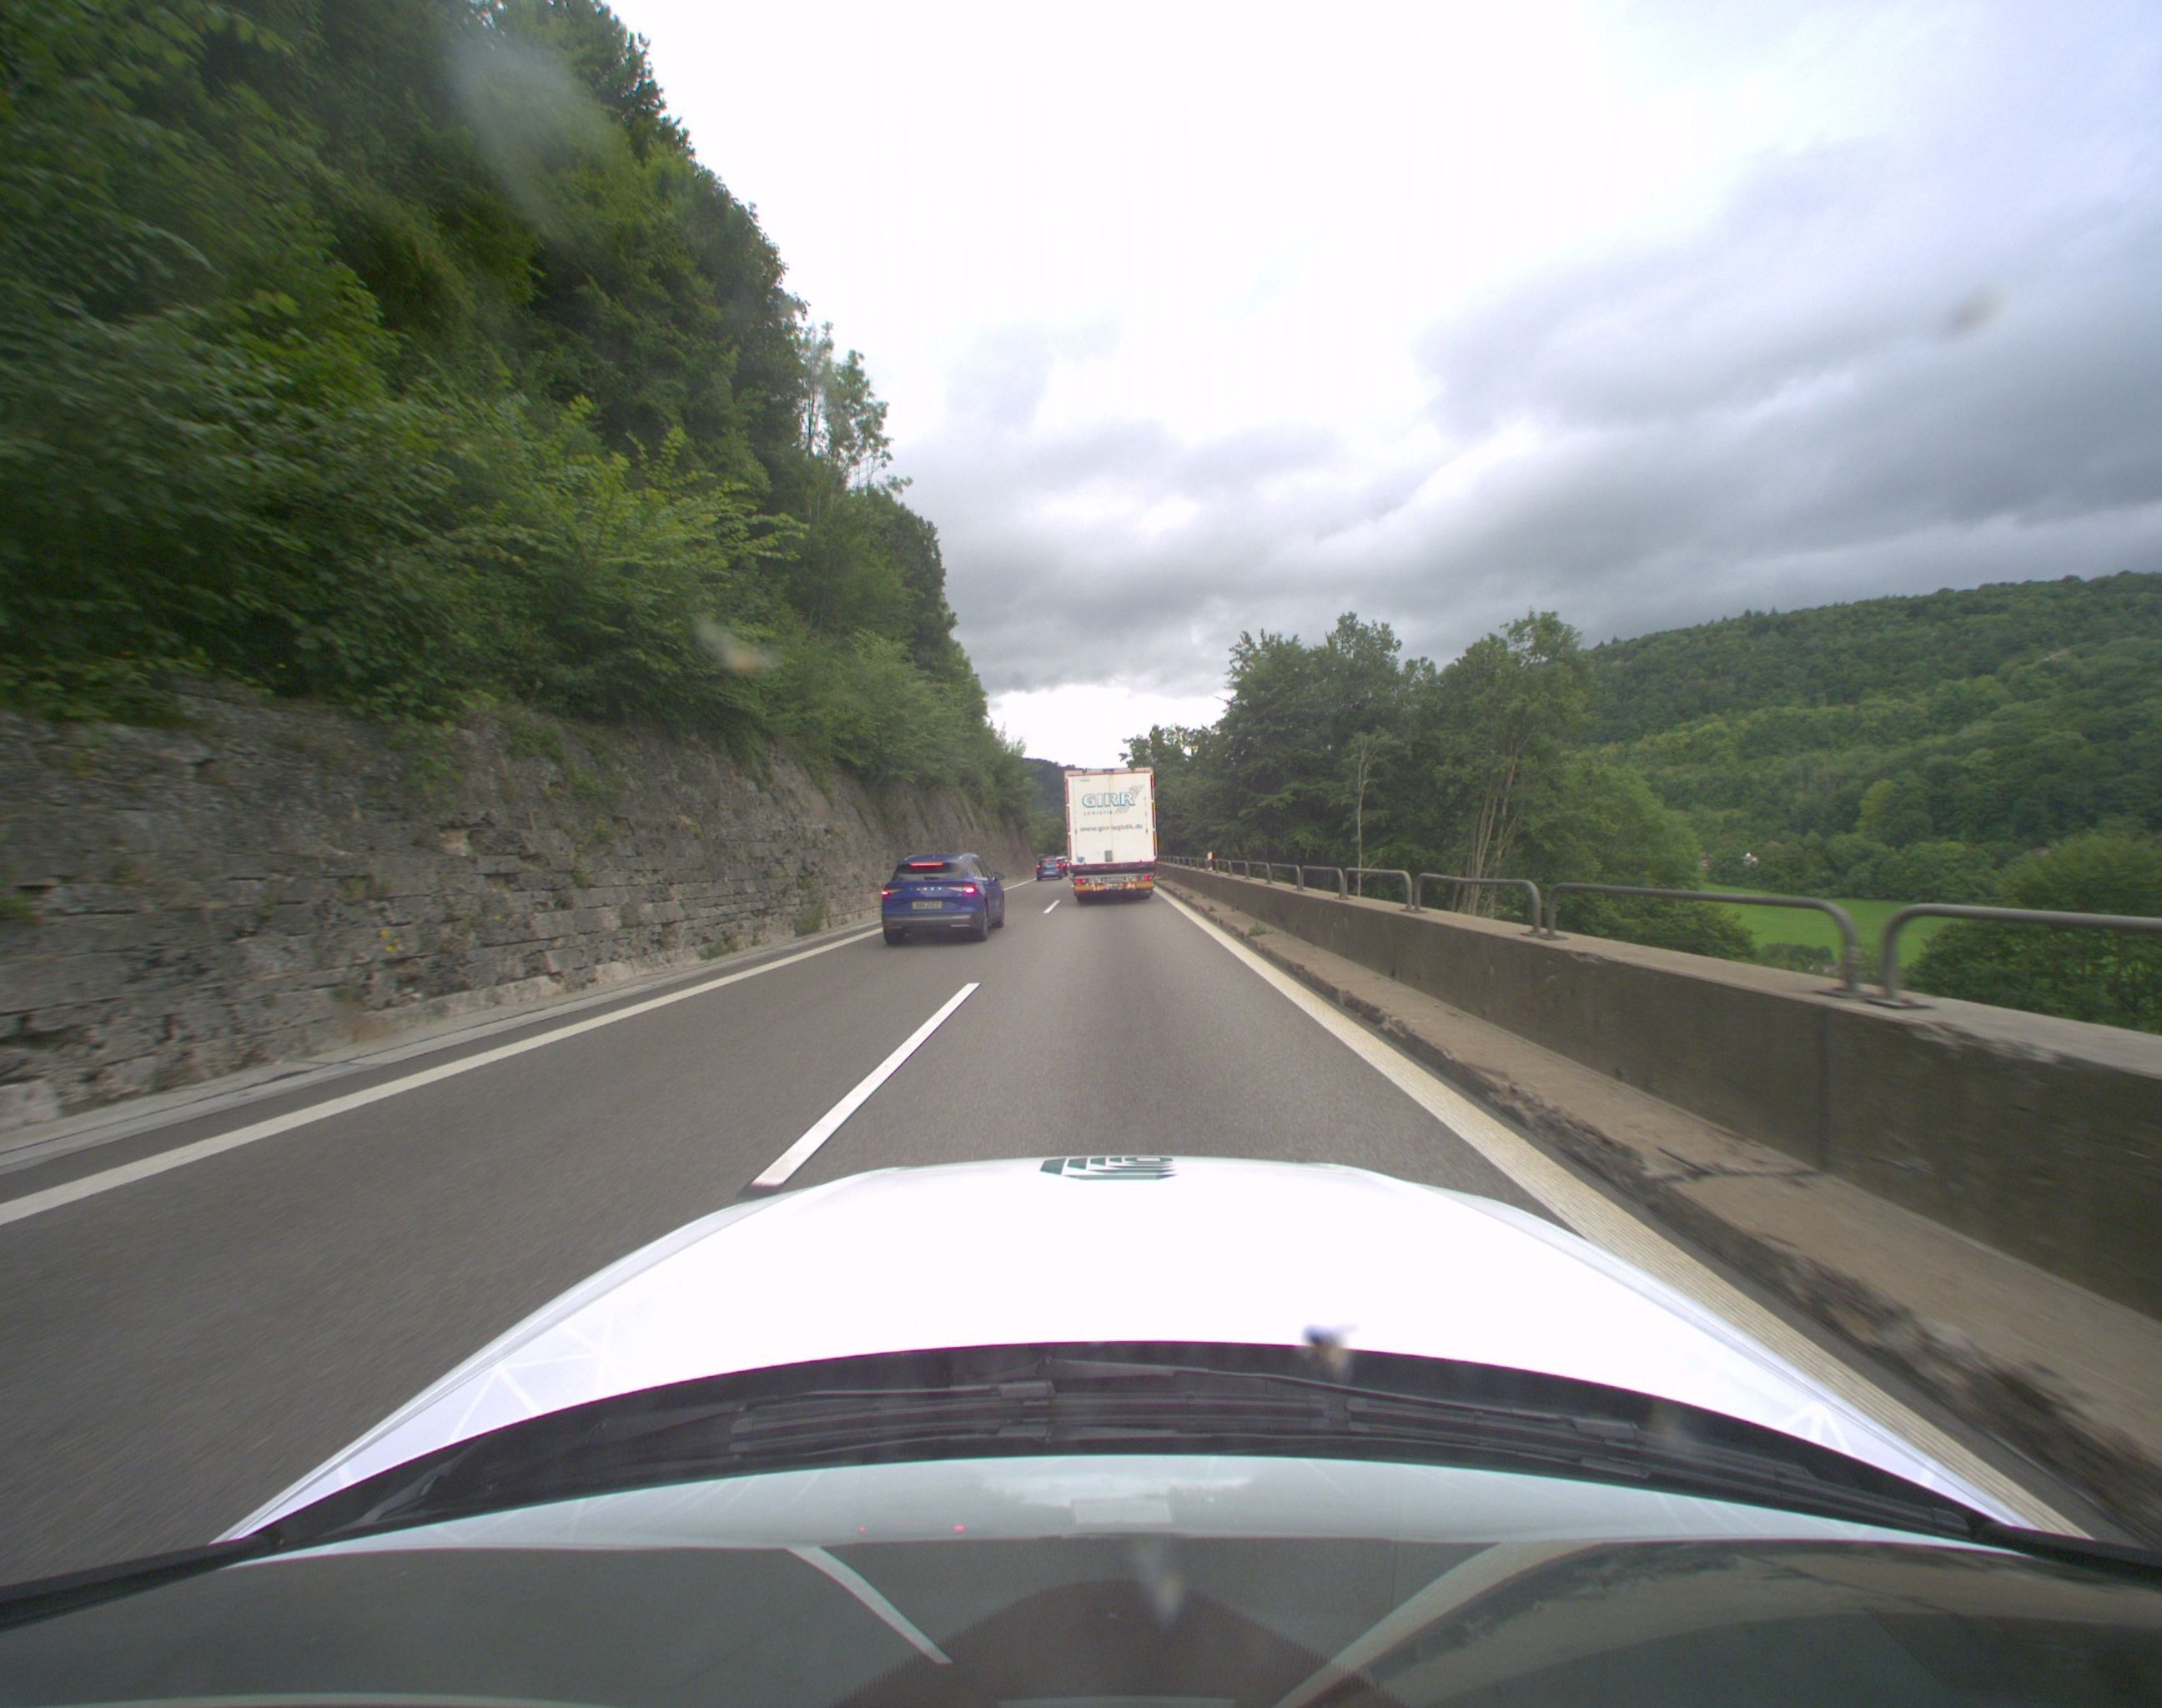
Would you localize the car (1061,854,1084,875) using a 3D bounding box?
[{"bbox_3d":[-0.629,0.800,65.109,1.739,1.587,4.000,1,0,1],"label":"car"}]

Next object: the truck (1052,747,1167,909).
[{"bbox_3d":[0.992,-0.788,30.849,3.073,4.463,15.159,-3,0,1],"label":"truck"}]

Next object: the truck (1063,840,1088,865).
[{"bbox_3d":[-0.996,-0.249,130.731,2.631,3.857,12.329,1,0,-7],"label":"truck"}]

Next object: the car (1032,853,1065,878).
[{"bbox_3d":[-2.192,0.760,55.488,1.987,1.596,4.354,1,0,0],"label":"car"}]

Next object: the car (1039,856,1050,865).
[{"bbox_3d":[-7.004,1.237,157.285,1.744,1.587,3.989,2,-1,-8],"label":"car"}]

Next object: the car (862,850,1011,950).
[{"bbox_3d":[-2.641,0.779,16.219,1.987,1.632,5.008,-2,0,0],"label":"car"}]
